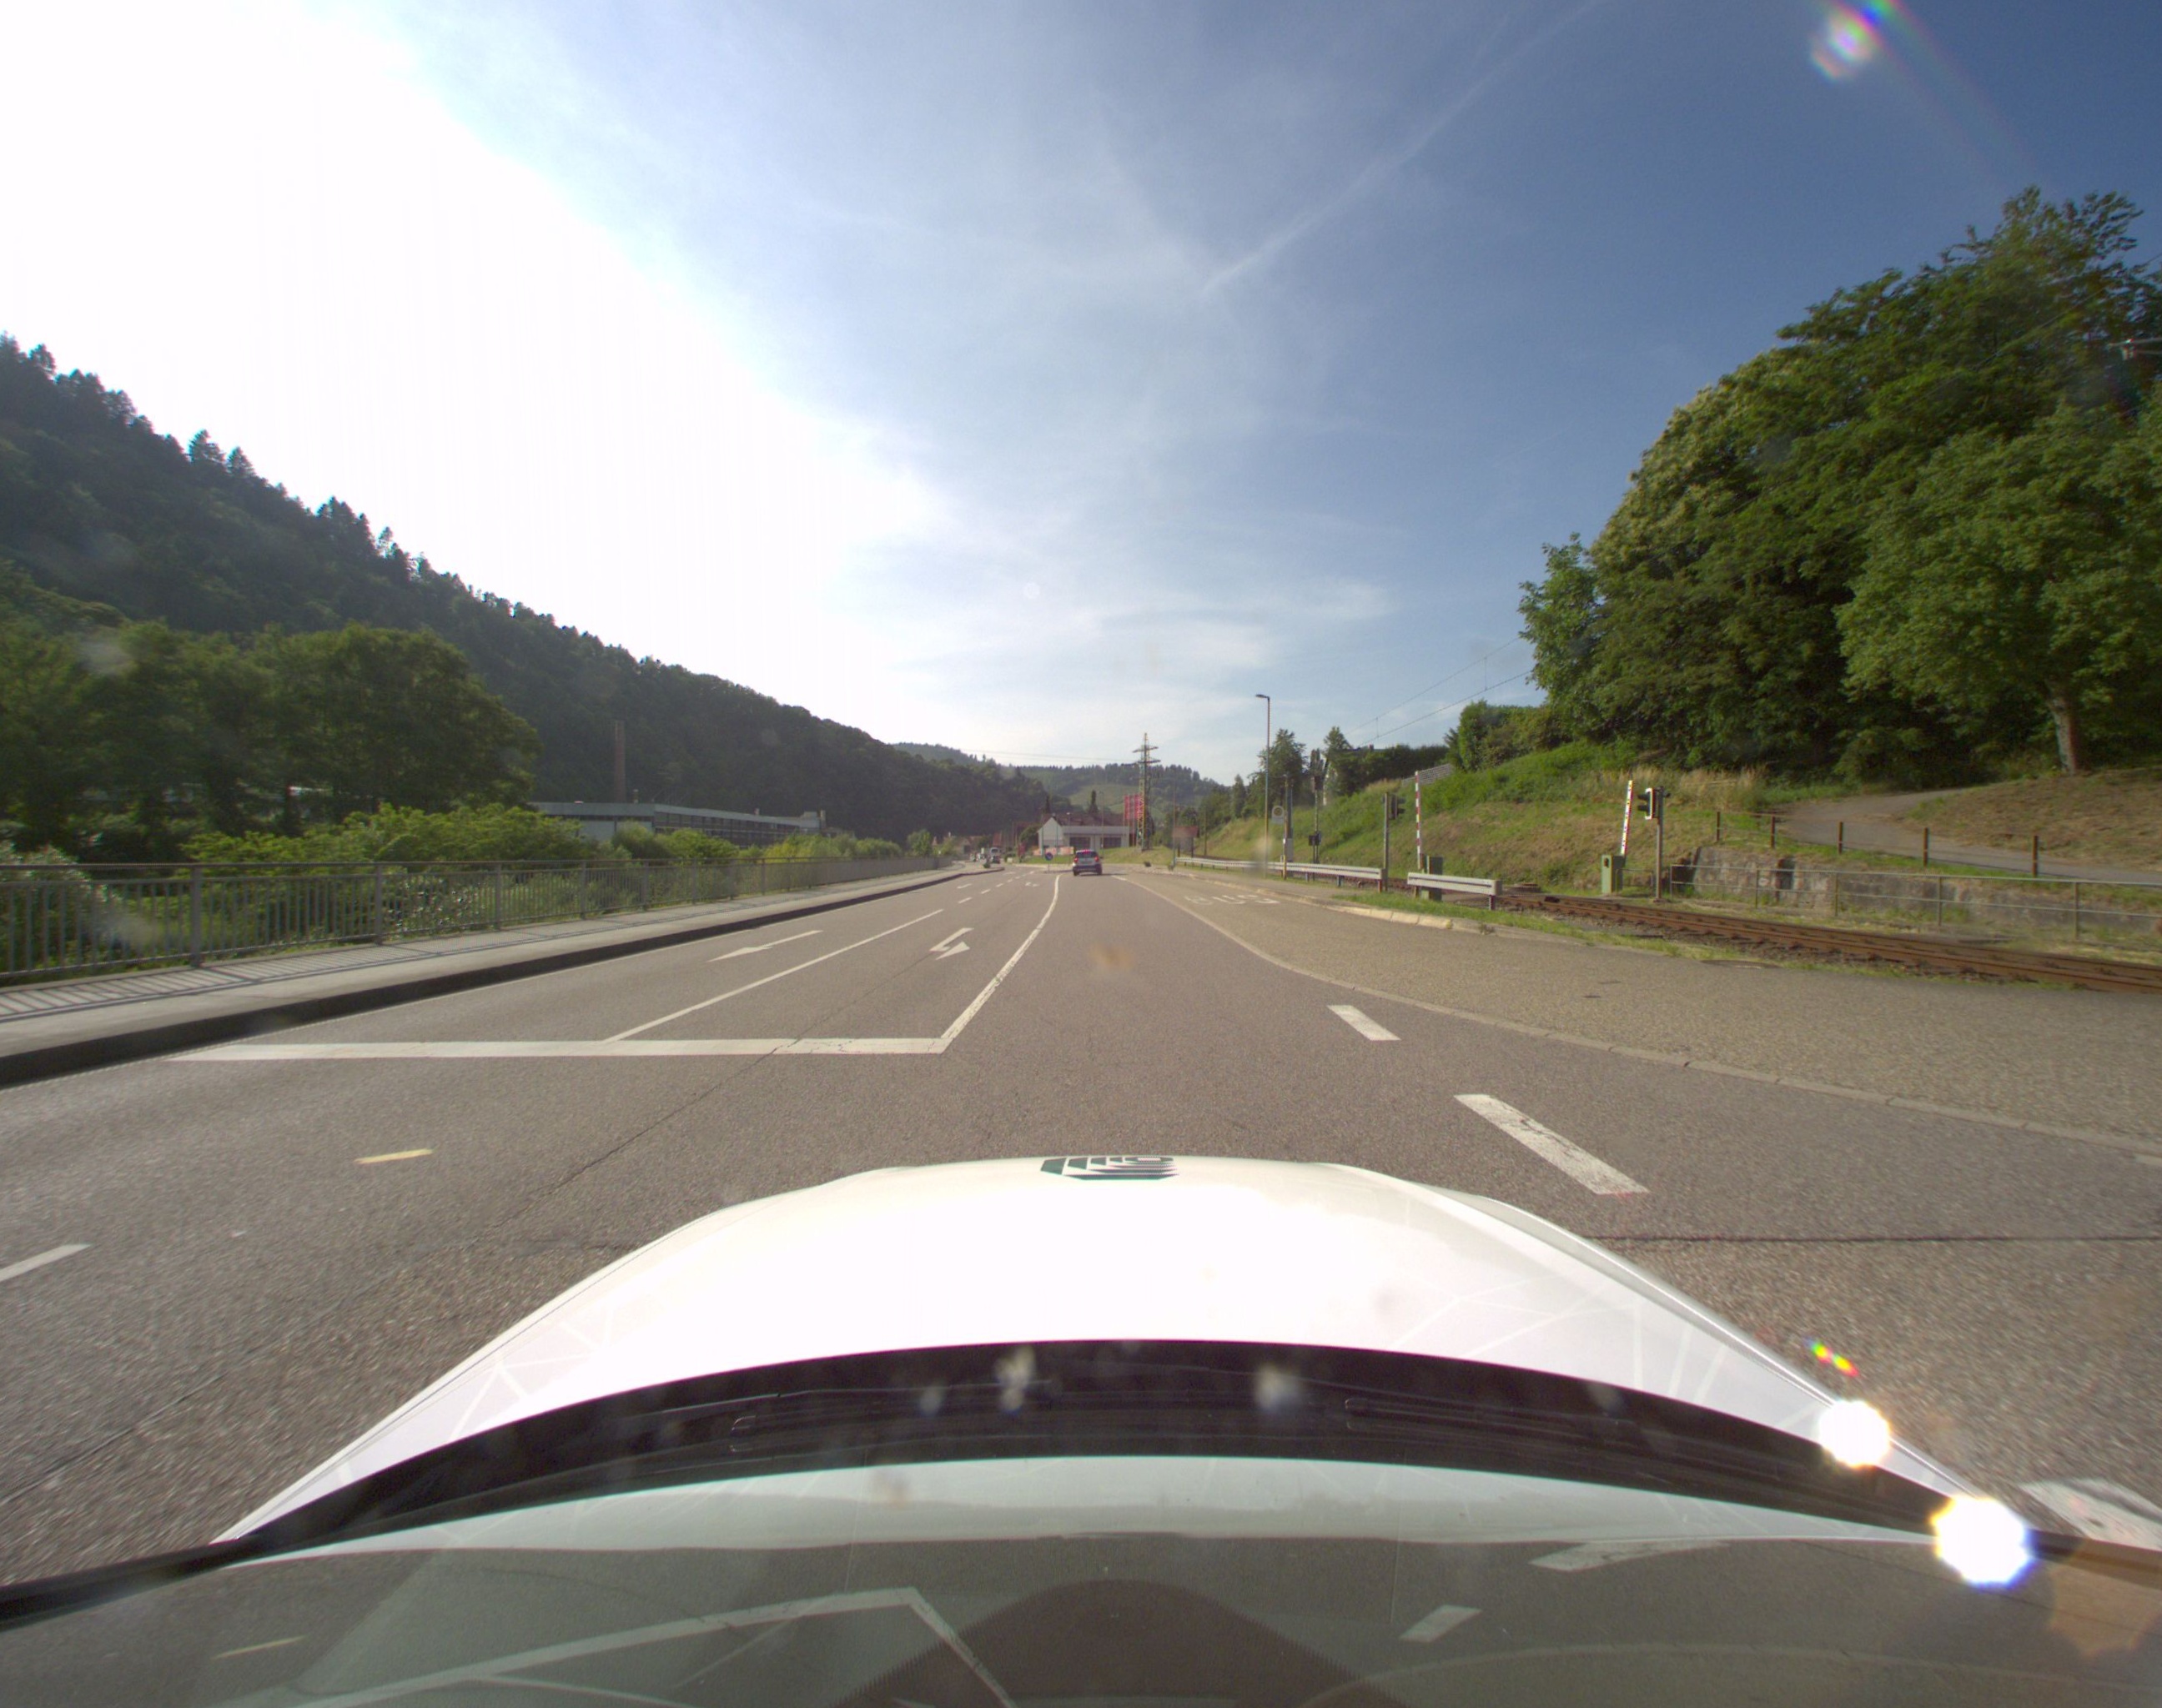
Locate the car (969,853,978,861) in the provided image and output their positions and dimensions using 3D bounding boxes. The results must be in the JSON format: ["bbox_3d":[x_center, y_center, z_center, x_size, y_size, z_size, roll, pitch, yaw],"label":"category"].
[{"bbox_3d":[-23.197,0.681,175.306,1.666,1.550,3.697,1,1,-5],"label":"car"}]

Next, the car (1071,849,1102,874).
[{"bbox_3d":[0.300,0.493,53.293,1.856,1.544,4.370,1,0,-2],"label":"car"}]

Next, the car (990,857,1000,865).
[{"bbox_3d":[-15.641,1.309,147.655,1.455,1.435,2.923,1,1,-13],"label":"car"}]

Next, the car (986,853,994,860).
[{"bbox_3d":[-19.430,0.558,173.854,1.236,1.435,2.624,-2,1,-18],"label":"car"}]
